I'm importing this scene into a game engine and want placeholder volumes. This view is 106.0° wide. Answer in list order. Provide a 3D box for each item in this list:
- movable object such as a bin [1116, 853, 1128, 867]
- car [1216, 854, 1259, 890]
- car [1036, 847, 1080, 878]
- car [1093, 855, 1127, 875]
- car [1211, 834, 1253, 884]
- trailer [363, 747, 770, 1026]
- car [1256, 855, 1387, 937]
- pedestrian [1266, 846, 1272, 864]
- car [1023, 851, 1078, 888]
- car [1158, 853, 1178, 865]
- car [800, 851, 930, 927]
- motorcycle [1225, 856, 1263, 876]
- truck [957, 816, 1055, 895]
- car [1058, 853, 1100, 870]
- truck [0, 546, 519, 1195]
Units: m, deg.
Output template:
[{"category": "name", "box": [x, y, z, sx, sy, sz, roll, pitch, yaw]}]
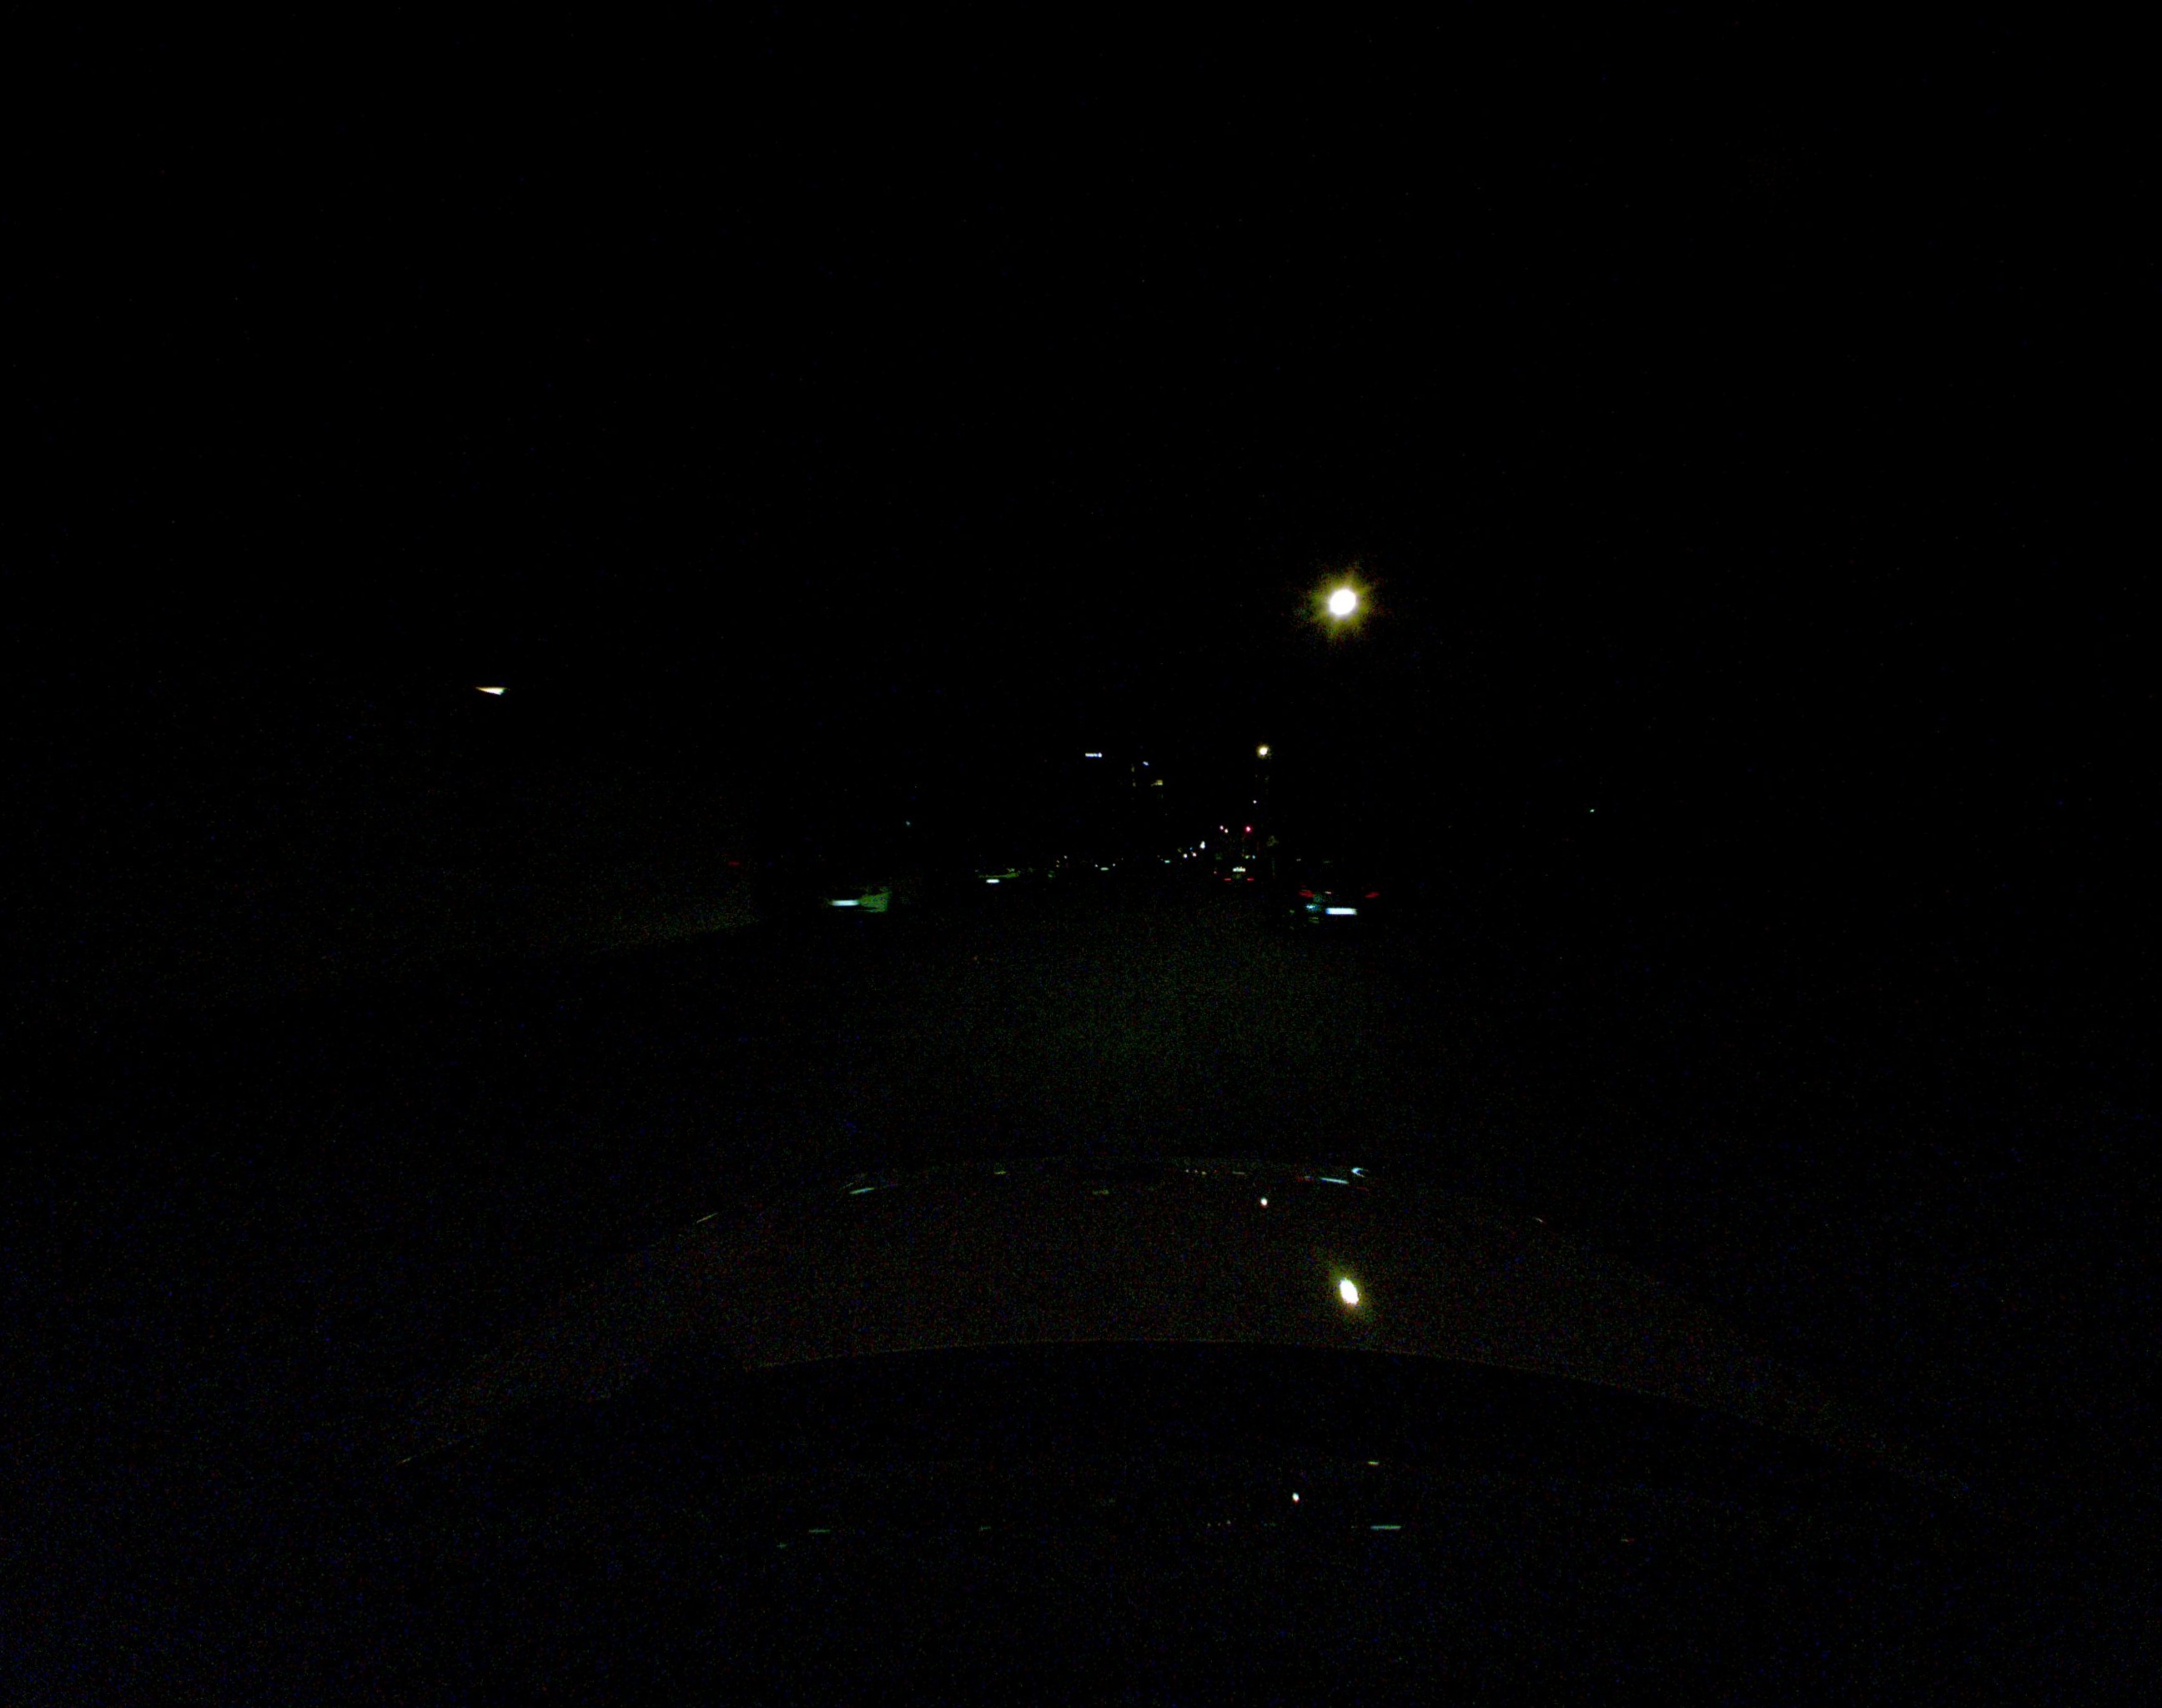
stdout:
[{"category": "movable object such as a bin", "box": [4.494, 0.603, 89.287, 1.157, 1.496, 1.068, -2, 0, 10]}, {"category": "car", "box": [7.082, 0.761, 37.120, 1.701, 1.508, 4.652, -1, 0, 9]}, {"category": "car", "box": [-1.823, 0.636, 66.044, 1.978, 2.321, 4.988, -3, 0, 17]}, {"category": "car", "box": [2.271, 0.845, 62.622, 1.742, 1.526, 4.339, 0, -1, 14]}, {"category": "car", "box": [8.268, 0.229, 44.150, 2.007, 2.526, 6.072, 0, 0, 12]}, {"category": "trailer", "box": [-6.151, 0.335, 10.636, 2.196, 2.795, 4.618, -2, 0, 2]}, {"category": "car", "box": [4.938, 0.790, 17.290, 1.704, 1.508, 4.002, -1, 0, 2]}, {"category": "pedestrian", "box": [19.872, 0.112, 85.922, 0.566, 1.852, 0.823, -2, 0, 13]}, {"category": "car", "box": [-1.593, 0.799, 44.653, 1.817, 1.816, 4.854, -2, 0, 11]}, {"category": "car", "box": [10.872, 0.637, 101.660, 1.898, 1.404, 4.354, -2, 0, 14]}, {"category": "car", "box": [-5.606, 0.845, 21.827, 1.985, 1.772, 4.695, -2, 0, 3]}, {"category": "motorcycle", "box": [9.698, 0.715, 48.414, 2.158, 1.183, 0.773, 0, 0, 44]}, {"category": "truck", "box": [-3.318, 0.052, 38.269, 2.527, 3.280, 7.335, -2, 0, 11]}, {"category": "car", "box": [-0.210, 0.728, 83.456, 3.960, 1.571, 1.823, -2, 0, 12]}, {"category": "truck", "box": [-6.587, 0.101, 3.928, 2.363, 3.243, 7.238, -2, 0, 3]}]
